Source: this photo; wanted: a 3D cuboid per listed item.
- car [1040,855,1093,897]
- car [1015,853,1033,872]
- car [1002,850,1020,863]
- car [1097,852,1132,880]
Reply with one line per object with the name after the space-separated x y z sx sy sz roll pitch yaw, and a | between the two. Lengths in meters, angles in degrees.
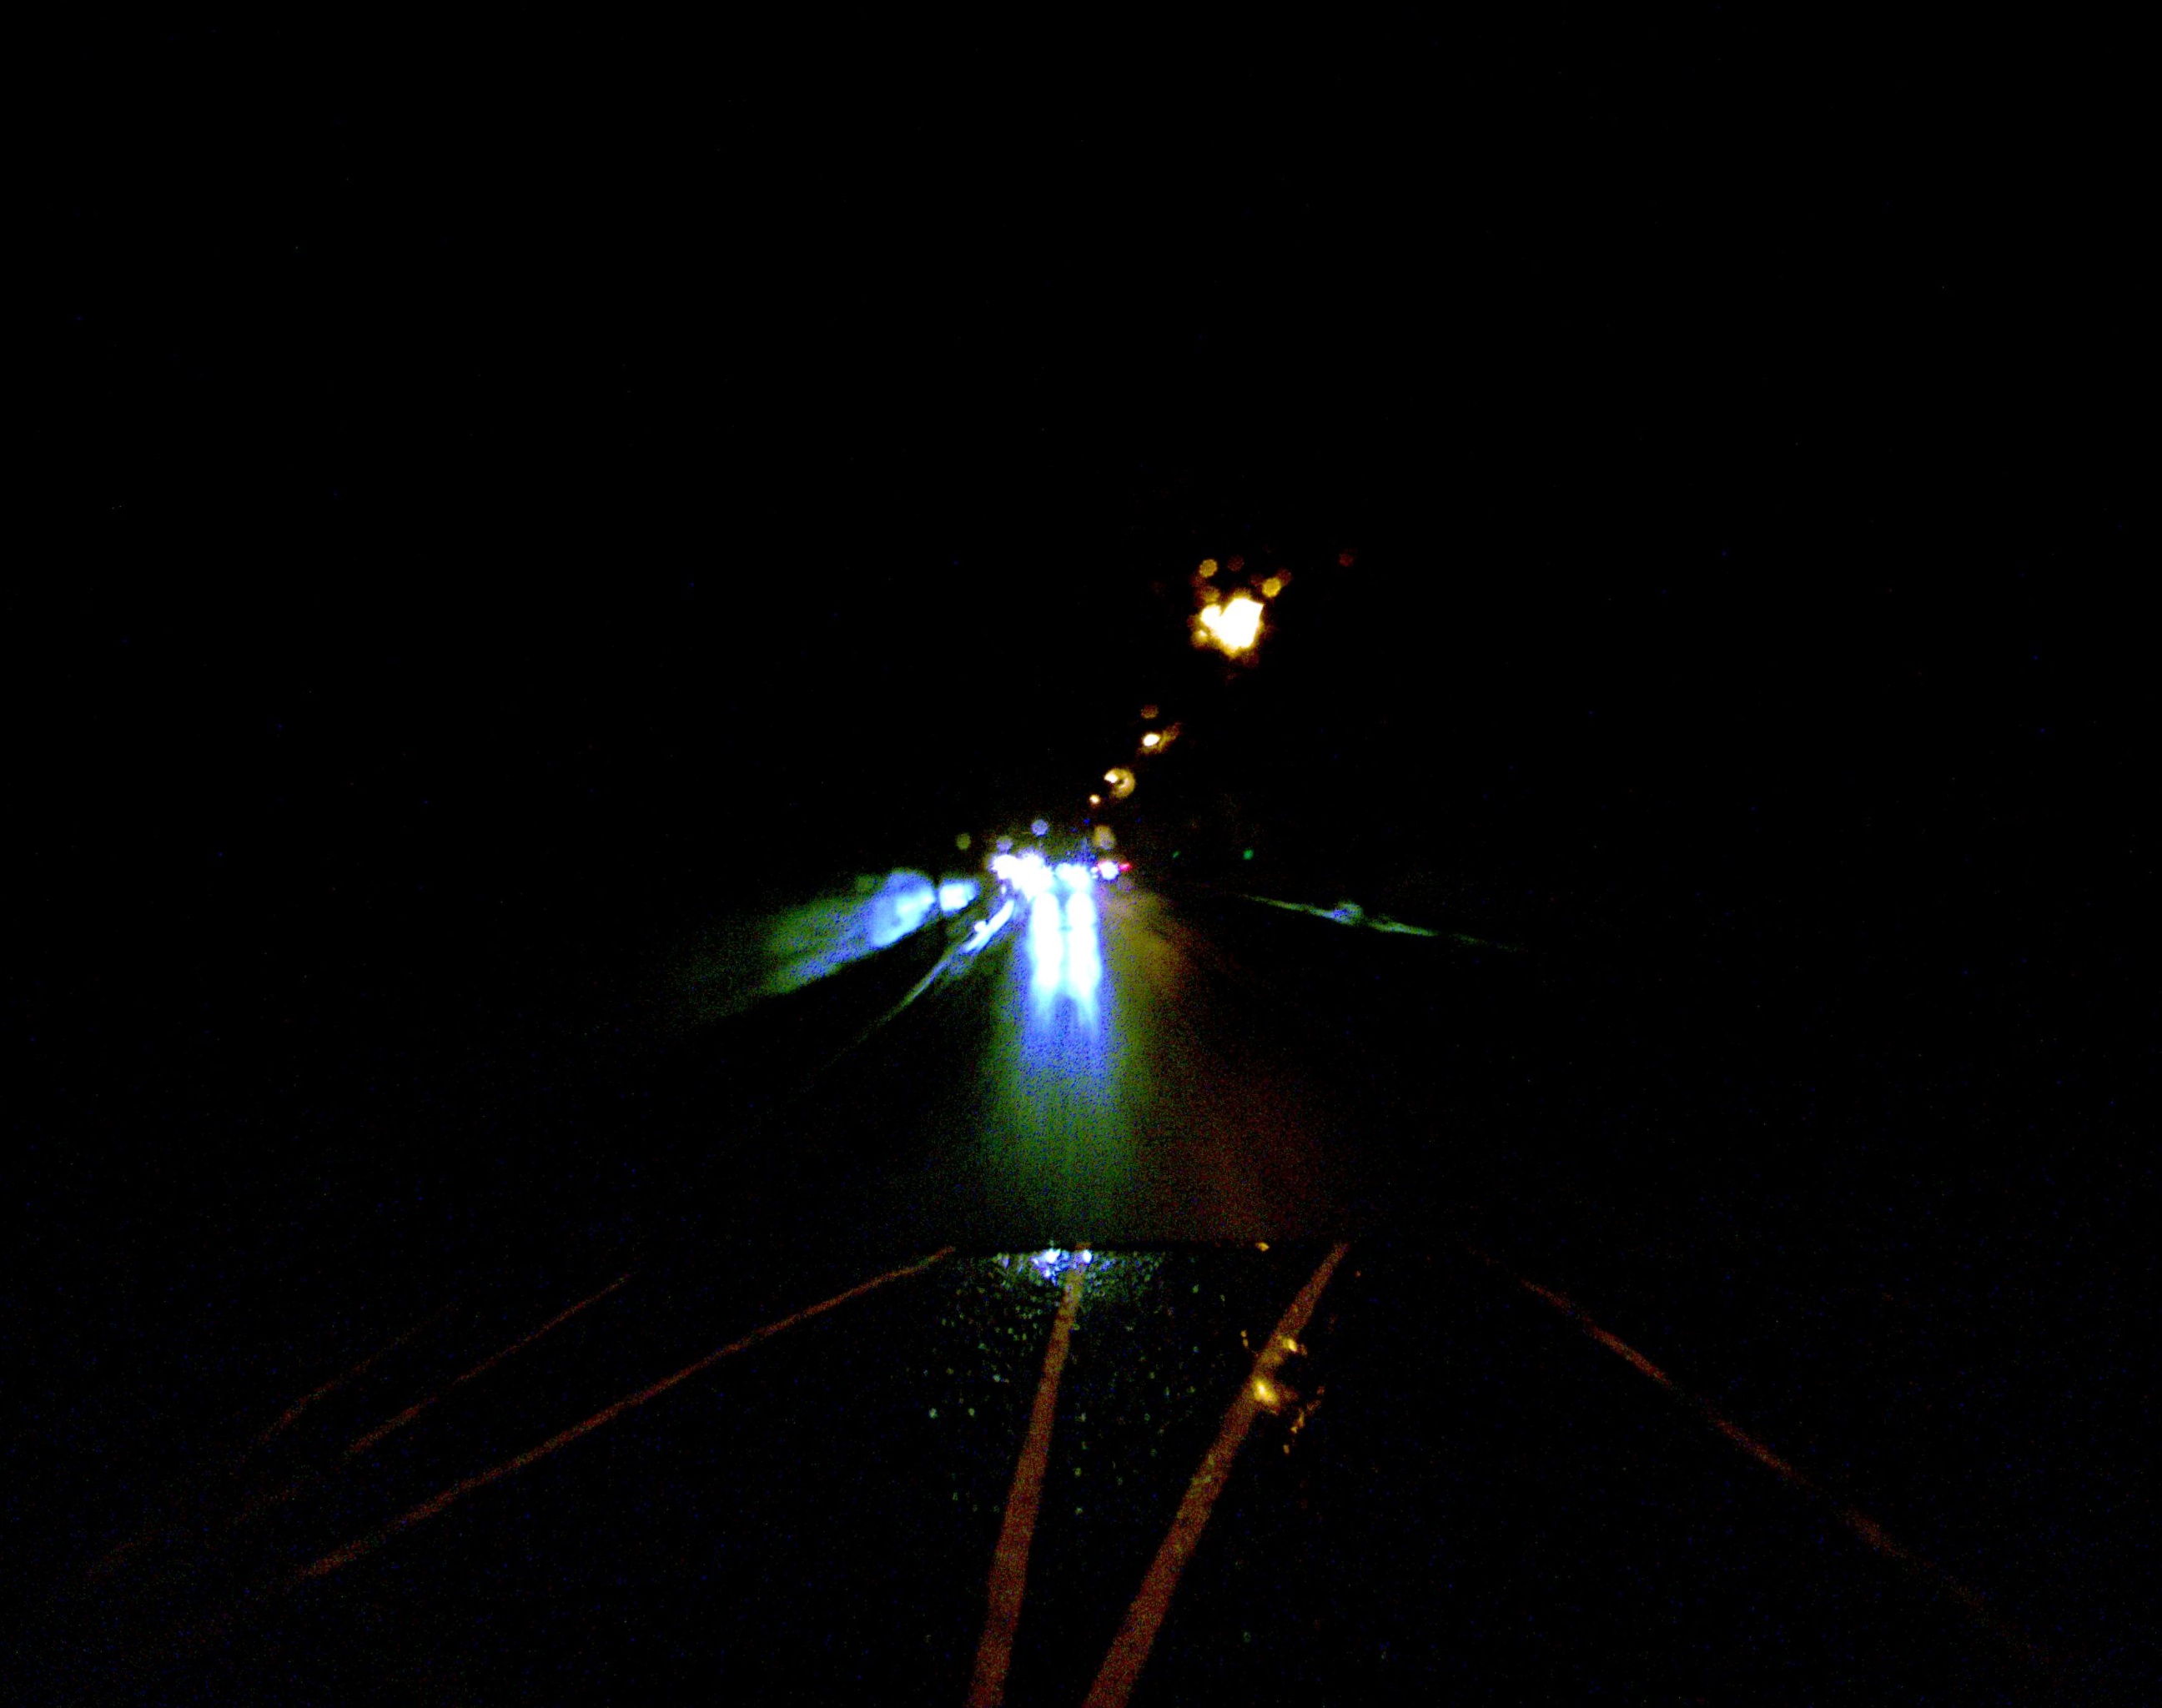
-0.731 0.896 33.701 1.999 1.585 4.606 -3 1 -4 | car
-6.352 0.892 85.526 1.899 2.002 3.998 -2 1 -4 | car
-9.855 0.381 106.548 1.711 1.762 3.994 -2 1 -17 | car
1.966 0.683 45.897 1.713 1.501 4.078 -3 0 -2 | car
